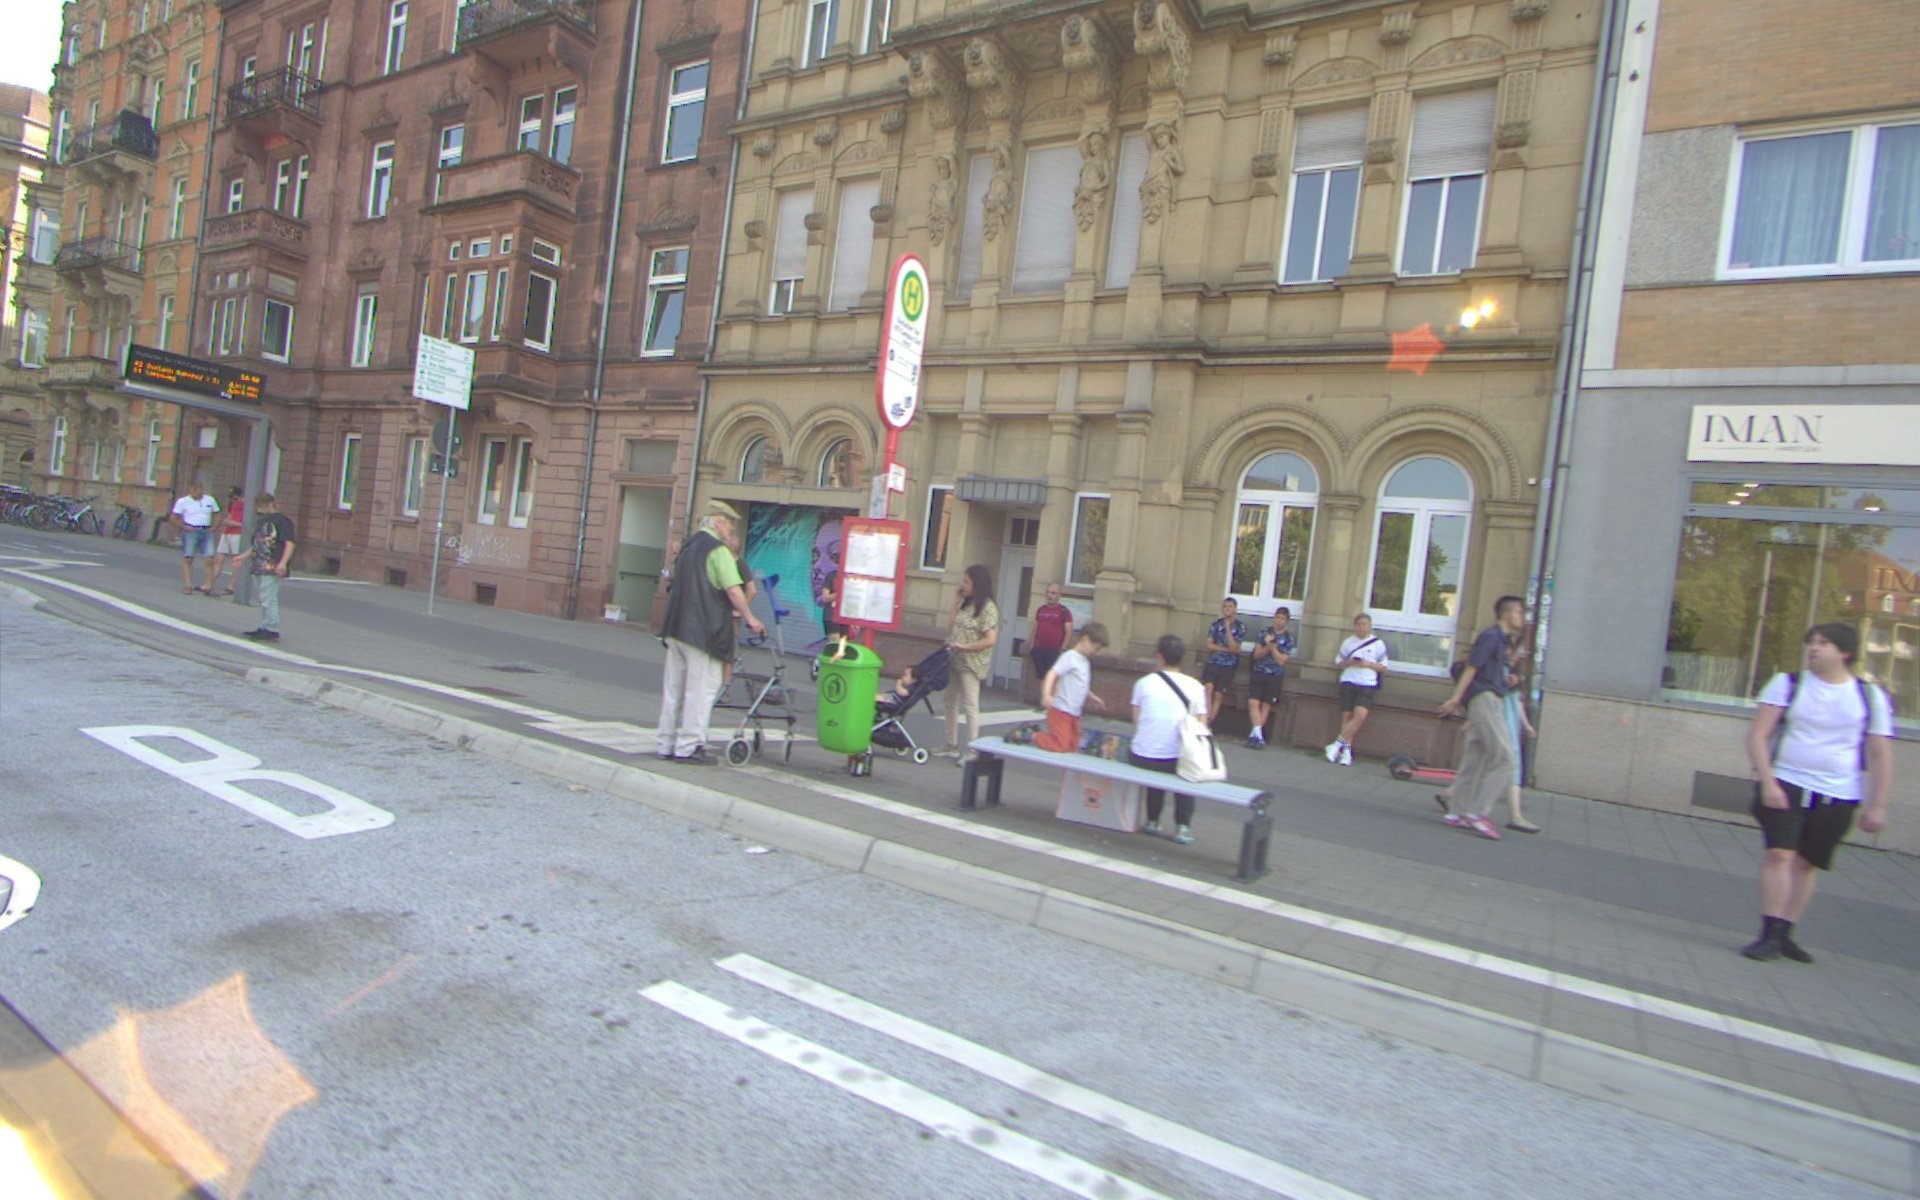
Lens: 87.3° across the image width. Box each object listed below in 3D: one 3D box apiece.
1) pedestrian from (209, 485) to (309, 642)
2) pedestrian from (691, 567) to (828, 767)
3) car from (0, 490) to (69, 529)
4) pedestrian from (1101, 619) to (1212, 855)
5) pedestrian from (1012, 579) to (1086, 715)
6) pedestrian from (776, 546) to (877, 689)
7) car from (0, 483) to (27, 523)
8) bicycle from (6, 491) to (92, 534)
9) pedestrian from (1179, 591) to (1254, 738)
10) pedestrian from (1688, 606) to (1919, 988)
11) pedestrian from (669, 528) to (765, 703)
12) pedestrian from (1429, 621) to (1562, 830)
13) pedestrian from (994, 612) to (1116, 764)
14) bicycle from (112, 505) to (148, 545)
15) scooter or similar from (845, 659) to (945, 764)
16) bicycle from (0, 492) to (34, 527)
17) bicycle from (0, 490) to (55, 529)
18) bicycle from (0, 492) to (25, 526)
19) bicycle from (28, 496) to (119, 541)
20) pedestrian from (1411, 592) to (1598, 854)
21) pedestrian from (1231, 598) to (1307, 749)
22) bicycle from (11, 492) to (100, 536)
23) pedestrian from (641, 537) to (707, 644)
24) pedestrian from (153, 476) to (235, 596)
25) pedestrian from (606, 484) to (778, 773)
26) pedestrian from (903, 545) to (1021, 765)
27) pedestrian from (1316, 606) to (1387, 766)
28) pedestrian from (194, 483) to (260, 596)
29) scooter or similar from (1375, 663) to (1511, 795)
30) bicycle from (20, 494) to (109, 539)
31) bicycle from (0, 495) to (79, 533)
[{"bbox_3d":[-7.746,-0.399,11.112,0.691,1.632,0.529,7,1,29],"label":"pedestrian"},{"bbox_3d":[-1.409,0.460,7.098,0.587,1.293,0.566,7,1,28],"label":"pedestrian"},{"bbox_3d":[-37.524,-3.690,39.157,1.520,1.237,3.944,7,0,28],"label":"car"},{"bbox_3d":[1.152,0.781,5.890,0.440,1.290,0.275,7,1,25],"label":"pedestrian"},{"bbox_3d":[1.172,0.616,13.194,0.577,1.675,0.604,7,1,29],"label":"pedestrian"},{"bbox_3d":[-1.746,0.239,13.195,0.882,1.746,0.701,7,1,32],"label":"pedestrian"},{"bbox_3d":[-41.827,-4.306,41.663,1.965,1.582,4.188,7,0,28],"label":"car"},{"bbox_3d":[-28.935,-2.770,31.981,0.491,1.061,1.932,7,0,27],"label":"bicycle"},{"bbox_3d":[3.181,0.794,12.476,0.577,1.713,0.604,7,1,29],"label":"pedestrian"},{"bbox_3d":[4.498,0.965,5.307,0.787,1.750,0.750,7,1,29],"label":"pedestrian"},{"bbox_3d":[-2.583,0.162,10.685,0.792,1.754,0.341,7,1,29],"label":"pedestrian"},{"bbox_3d":[4.576,1.044,8.600,0.799,1.630,0.486,7,1,33],"label":"pedestrian"},{"bbox_3d":[0.585,0.528,6.192,0.593,0.830,0.303,7,1,25],"label":"pedestrian"},{"bbox_3d":[-24.968,-2.259,30.243,1.644,1.061,0.416,7,1,38],"label":"bicycle"},{"bbox_3d":[-0.523,0.890,8.169,0.505,0.751,0.566,7,1,29],"label":"scooter or similar"},{"bbox_3d":[-32.554,-3.126,33.857,0.518,1.061,1.932,7,0,27],"label":"bicycle"},{"bbox_3d":[-30.871,-2.993,32.798,0.518,1.061,1.932,7,0,27],"label":"bicycle"},{"bbox_3d":[-33.259,-3.197,34.277,0.518,1.061,1.932,7,0,27],"label":"bicycle"},{"bbox_3d":[-26.564,-2.439,30.184,0.491,1.061,1.932,7,0,27],"label":"bicycle"},{"bbox_3d":[4.266,0.919,7.884,1.054,1.827,0.617,7,1,33],"label":"pedestrian"},{"bbox_3d":[3.742,0.879,12.158,0.577,1.713,0.604,7,1,29],"label":"pedestrian"},{"bbox_3d":[-27.775,-2.624,30.925,0.491,1.061,1.932,7,0,27],"label":"bicycle"},{"bbox_3d":[-4.934,-0.150,17.355,0.679,1.740,0.630,7,1,32],"label":"pedestrian"},{"bbox_3d":[-11.523,-0.948,15.136,0.609,1.685,0.691,7,1,33],"label":"pedestrian"},{"bbox_3d":[-1.755,0.173,6.602,0.732,1.750,0.565,7,1,29],"label":"pedestrian"},{"bbox_3d":[0.022,0.457,8.538,0.607,1.750,0.565,7,1,29],"label":"pedestrian"},{"bbox_3d":[4.547,0.986,11.670,0.502,1.753,0.604,7,1,29],"label":"pedestrian"},{"bbox_3d":[-11.826,-0.976,16.237,0.691,1.723,0.482,7,1,29],"label":"pedestrian"},{"bbox_3d":[5.015,1.315,10.474,1.133,1.178,0.360,7,1,30],"label":"scooter or similar"},{"bbox_3d":[-27.184,-2.517,30.572,0.491,1.061,1.932,7,0,27],"label":"bicycle"},{"bbox_3d":[-29.632,-2.749,32.295,0.491,0.962,1.932,7,0,27],"label":"bicycle"}]
